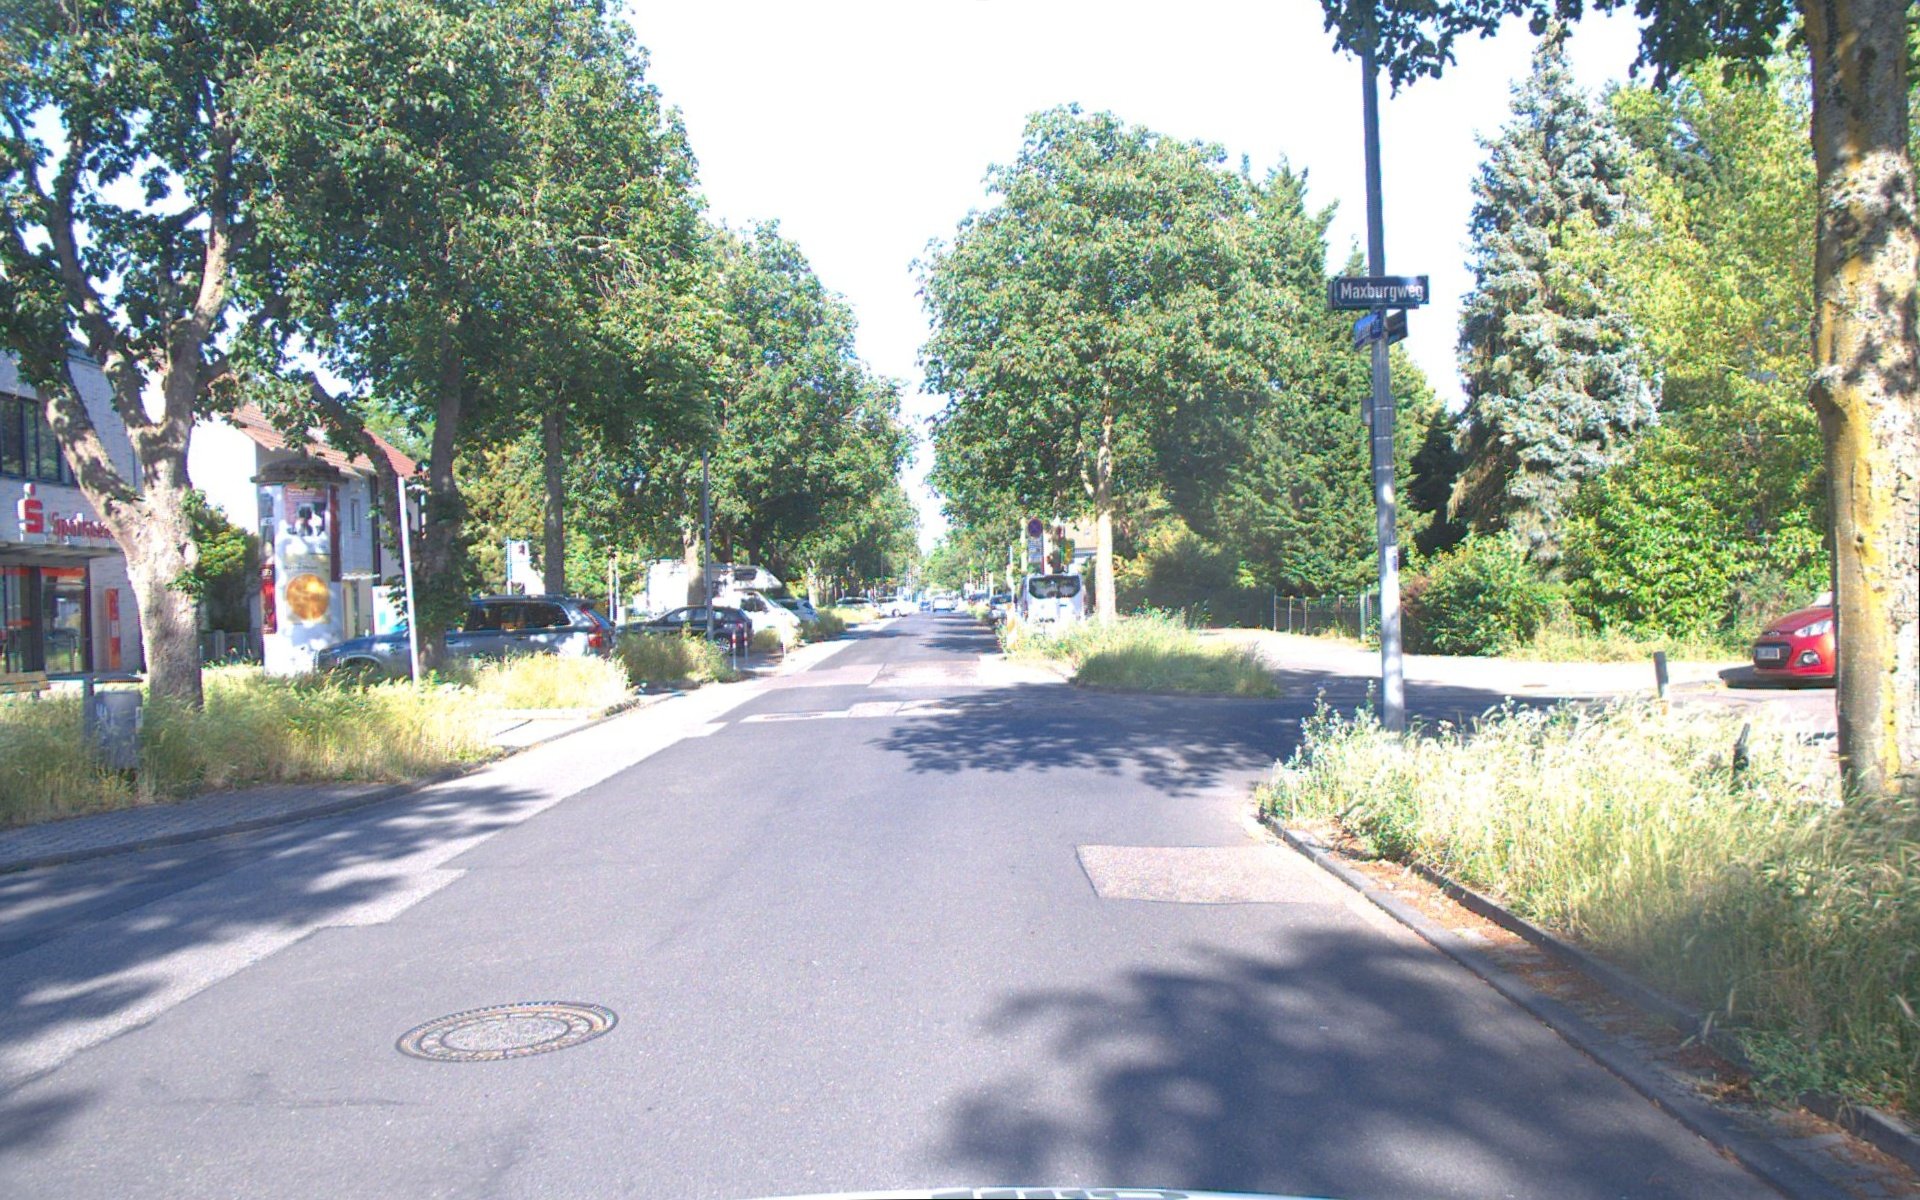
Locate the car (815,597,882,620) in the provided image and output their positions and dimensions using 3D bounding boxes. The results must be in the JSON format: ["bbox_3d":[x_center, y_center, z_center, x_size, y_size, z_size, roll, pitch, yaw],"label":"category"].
[{"bbox_3d":[-7.958,0.590,118.418,4.575,1.529,2.000,-2,0,0],"label":"car"}]

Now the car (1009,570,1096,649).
[{"bbox_3d":[2.551,0.270,46.717,1.953,2.049,5.194,1,0,-2],"label":"car"}]

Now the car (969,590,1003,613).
[{"bbox_3d":[1.884,0.135,122.349,1.955,1.650,4.375,1,0,-7],"label":"car"}]

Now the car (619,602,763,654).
[{"bbox_3d":[-7.866,0.816,48.598,3.904,1.475,1.640,0,-1,2],"label":"car"}]

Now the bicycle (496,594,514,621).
[{"bbox_3d":[-21.142,0.320,76.827,0.693,1.197,4.037,-2,1,-17],"label":"bicycle"}]

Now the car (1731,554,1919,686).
[{"bbox_3d":[11.927,0.206,21.059,3.471,1.537,1.638,-2,1,-5],"label":"car"}]

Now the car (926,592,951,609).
[{"bbox_3d":[-2.064,0.072,156.107,1.955,1.534,3.653,1,0,-6],"label":"car"}]

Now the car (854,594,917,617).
[{"bbox_3d":[-5.416,0.392,120.293,4.121,1.480,2.002,-2,0,13],"label":"car"}]

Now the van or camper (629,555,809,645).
[{"bbox_3d":[-8.020,-0.004,55.418,5.656,2.854,2.000,1,-1,1],"label":"van or camper"}]

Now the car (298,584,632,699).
[{"bbox_3d":[-8.108,0.683,27.528,4.962,1.758,1.998,1,-1,-5],"label":"car"}]

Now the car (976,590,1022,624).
[{"bbox_3d":[2.016,0.367,84.101,1.951,1.536,4.003,-3,-1,6],"label":"car"}]

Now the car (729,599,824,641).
[{"bbox_3d":[-7.977,0.851,72.149,3.907,1.690,1.966,-2,0,-2],"label":"car"}]
